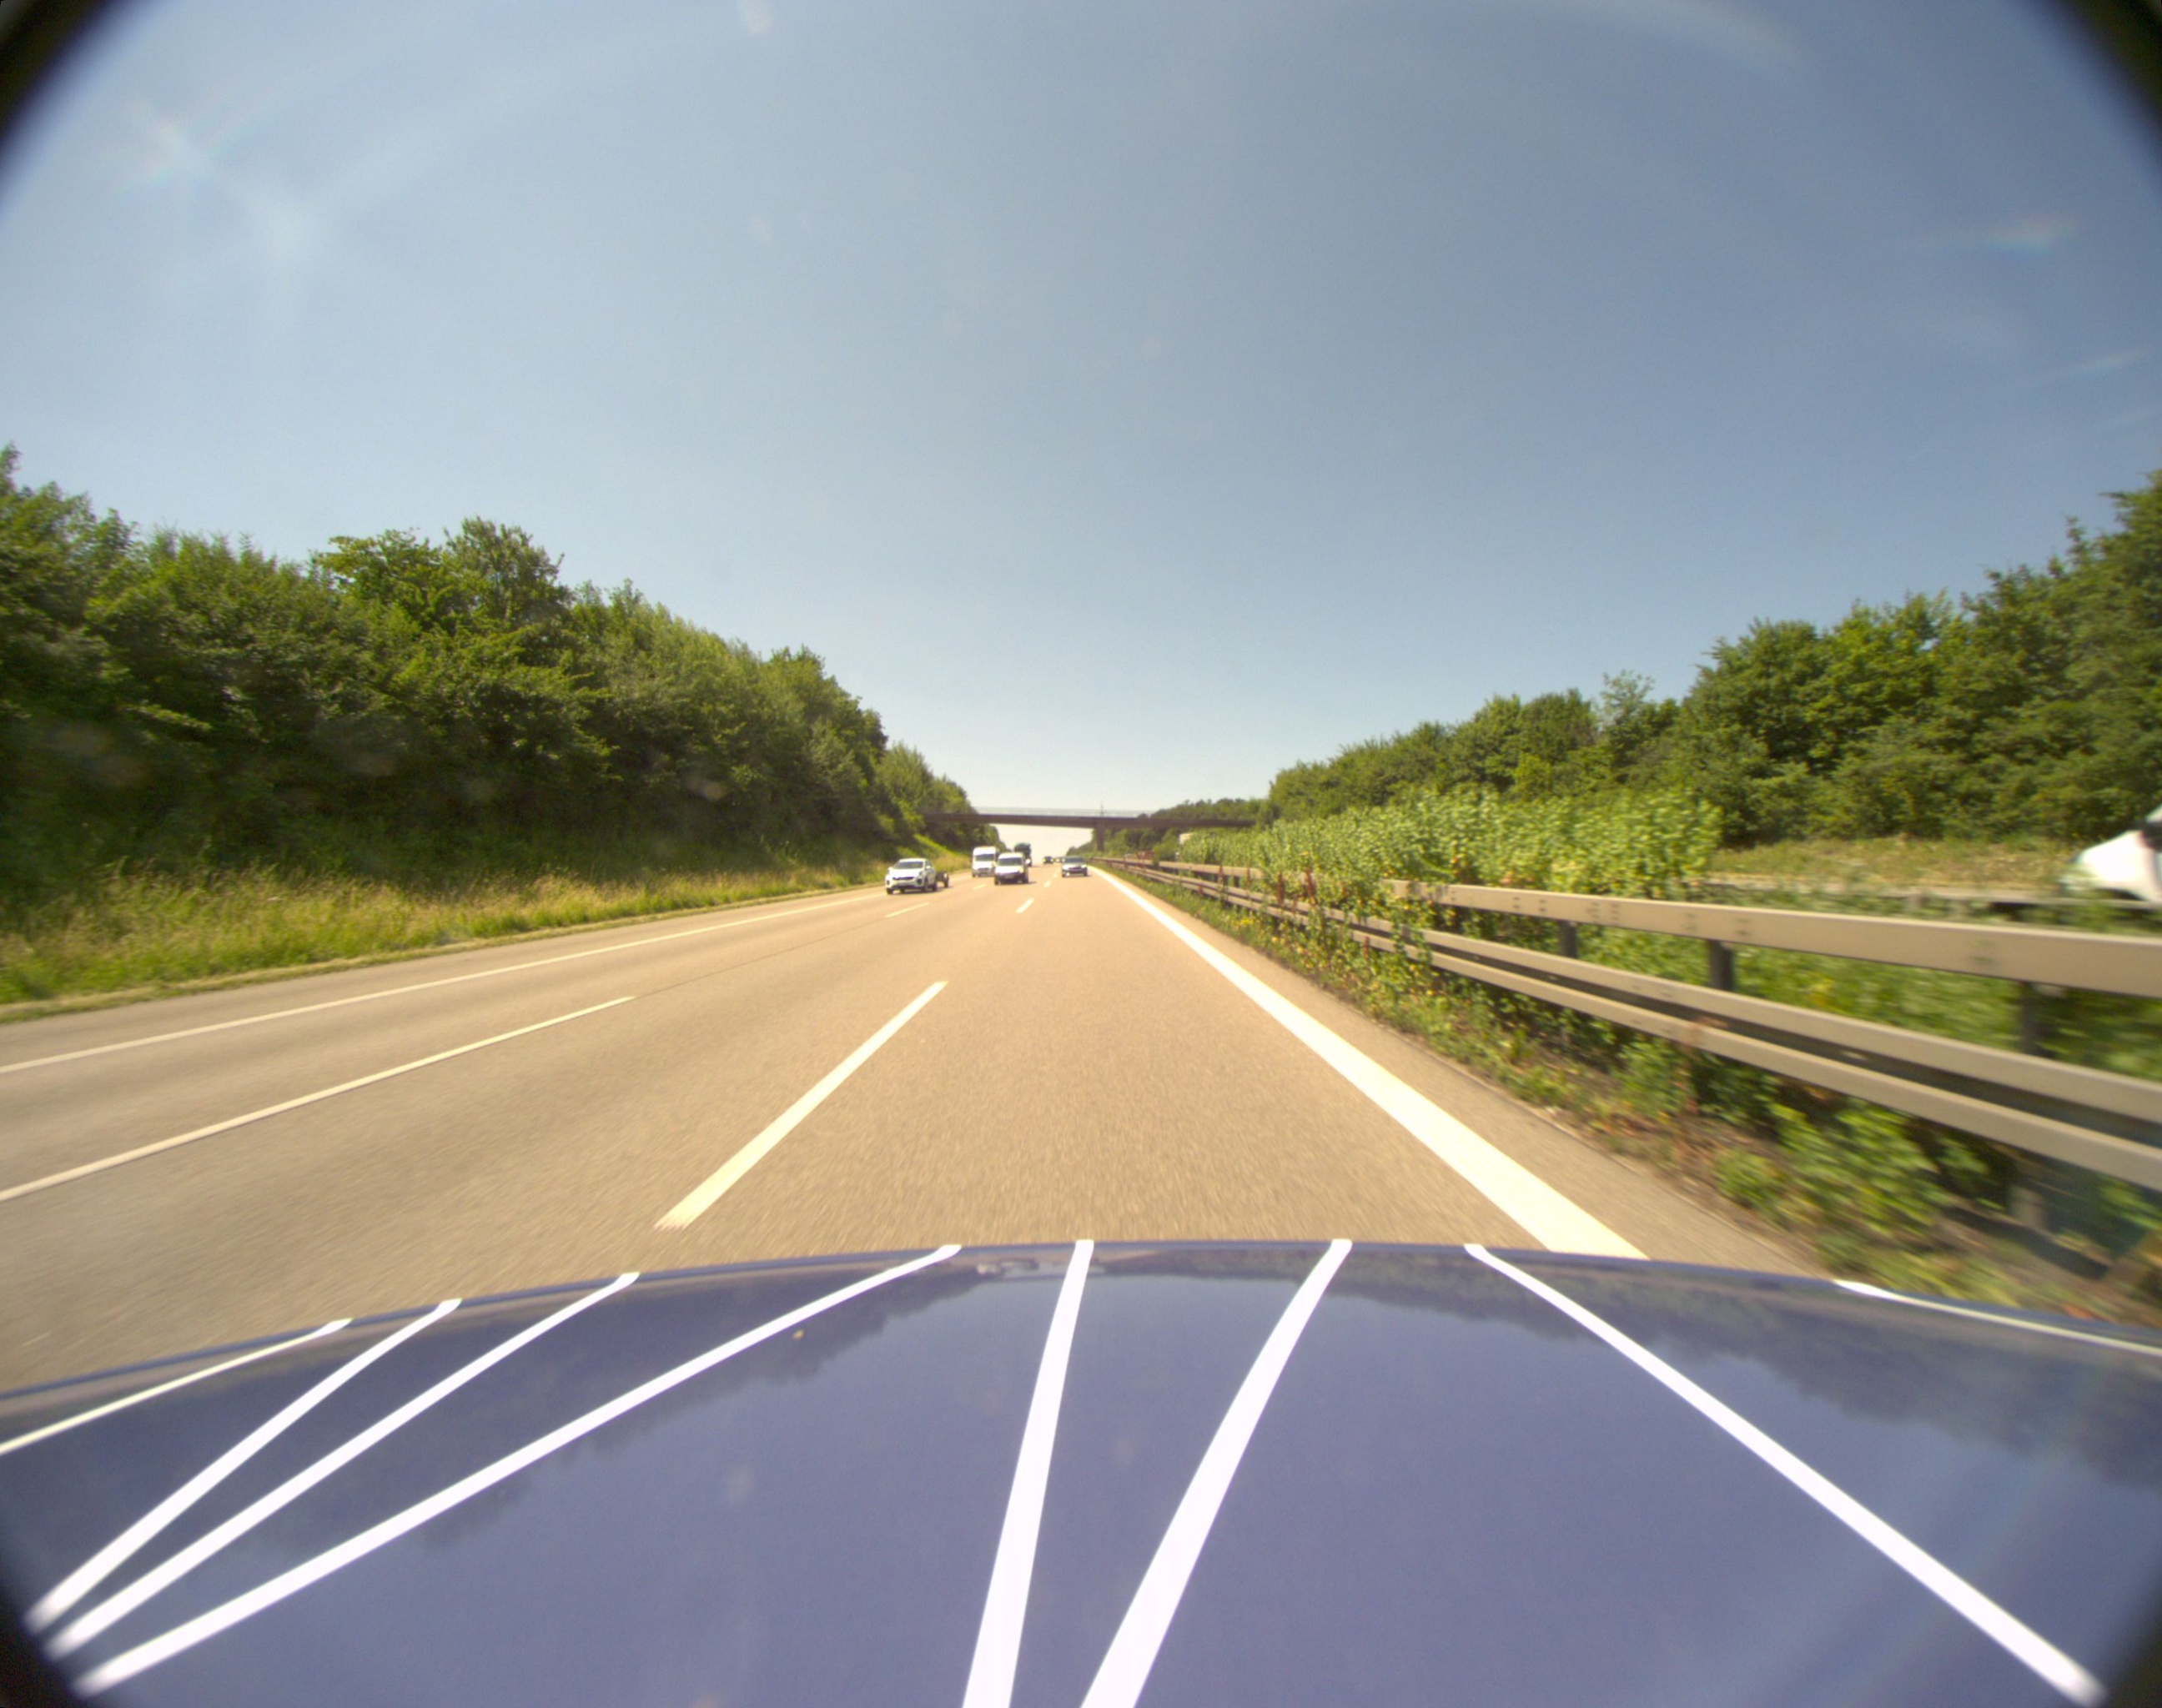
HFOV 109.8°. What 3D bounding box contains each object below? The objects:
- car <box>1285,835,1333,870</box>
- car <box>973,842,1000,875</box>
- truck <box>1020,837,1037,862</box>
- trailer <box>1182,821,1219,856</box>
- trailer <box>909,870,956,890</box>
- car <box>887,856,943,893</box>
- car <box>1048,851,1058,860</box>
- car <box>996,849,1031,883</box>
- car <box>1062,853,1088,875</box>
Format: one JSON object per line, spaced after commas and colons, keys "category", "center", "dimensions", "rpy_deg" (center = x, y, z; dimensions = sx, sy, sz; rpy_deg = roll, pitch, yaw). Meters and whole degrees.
{"category": "car", "center": [13.876, -0.073, 46.411], "dimensions": [1.740, 2.002, 4.000], "rpy_deg": [-2, 0, 1]}
{"category": "car", "center": [-8.139, 0.430, 65.706], "dimensions": [2.096, 2.560, 6.619], "rpy_deg": [-2, -1, -7]}
{"category": "truck", "center": [-8.423, -0.637, 121.090], "dimensions": [2.517, 3.819, 4.891], "rpy_deg": [-2, -1, -5]}
{"category": "trailer", "center": [16.592, -2.021, 106.570], "dimensions": [2.641, 4.228, 14.676], "rpy_deg": [-2, -1, -1]}
{"category": "trailer", "center": [-8.156, 1.386, 42.030], "dimensions": [1.759, 0.903, 4.319], "rpy_deg": [-2, 0, -1]}
{"category": "car", "center": [-8.127, 0.983, 37.649], "dimensions": [1.786, 1.641, 4.403], "rpy_deg": [-2, -1, -1]}
{"category": "car", "center": [-5.395, 0.237, 146.170], "dimensions": [1.788, 1.550, 3.942], "rpy_deg": [-2, -1, -6]}
{"category": "car", "center": [-3.949, 0.691, 45.132], "dimensions": [1.750, 1.819, 4.800], "rpy_deg": [-2, 0, -2]}
{"category": "car", "center": [-0.410, 0.730, 54.785], "dimensions": [1.768, 1.400, 3.999], "rpy_deg": [-2, -1, -1]}
